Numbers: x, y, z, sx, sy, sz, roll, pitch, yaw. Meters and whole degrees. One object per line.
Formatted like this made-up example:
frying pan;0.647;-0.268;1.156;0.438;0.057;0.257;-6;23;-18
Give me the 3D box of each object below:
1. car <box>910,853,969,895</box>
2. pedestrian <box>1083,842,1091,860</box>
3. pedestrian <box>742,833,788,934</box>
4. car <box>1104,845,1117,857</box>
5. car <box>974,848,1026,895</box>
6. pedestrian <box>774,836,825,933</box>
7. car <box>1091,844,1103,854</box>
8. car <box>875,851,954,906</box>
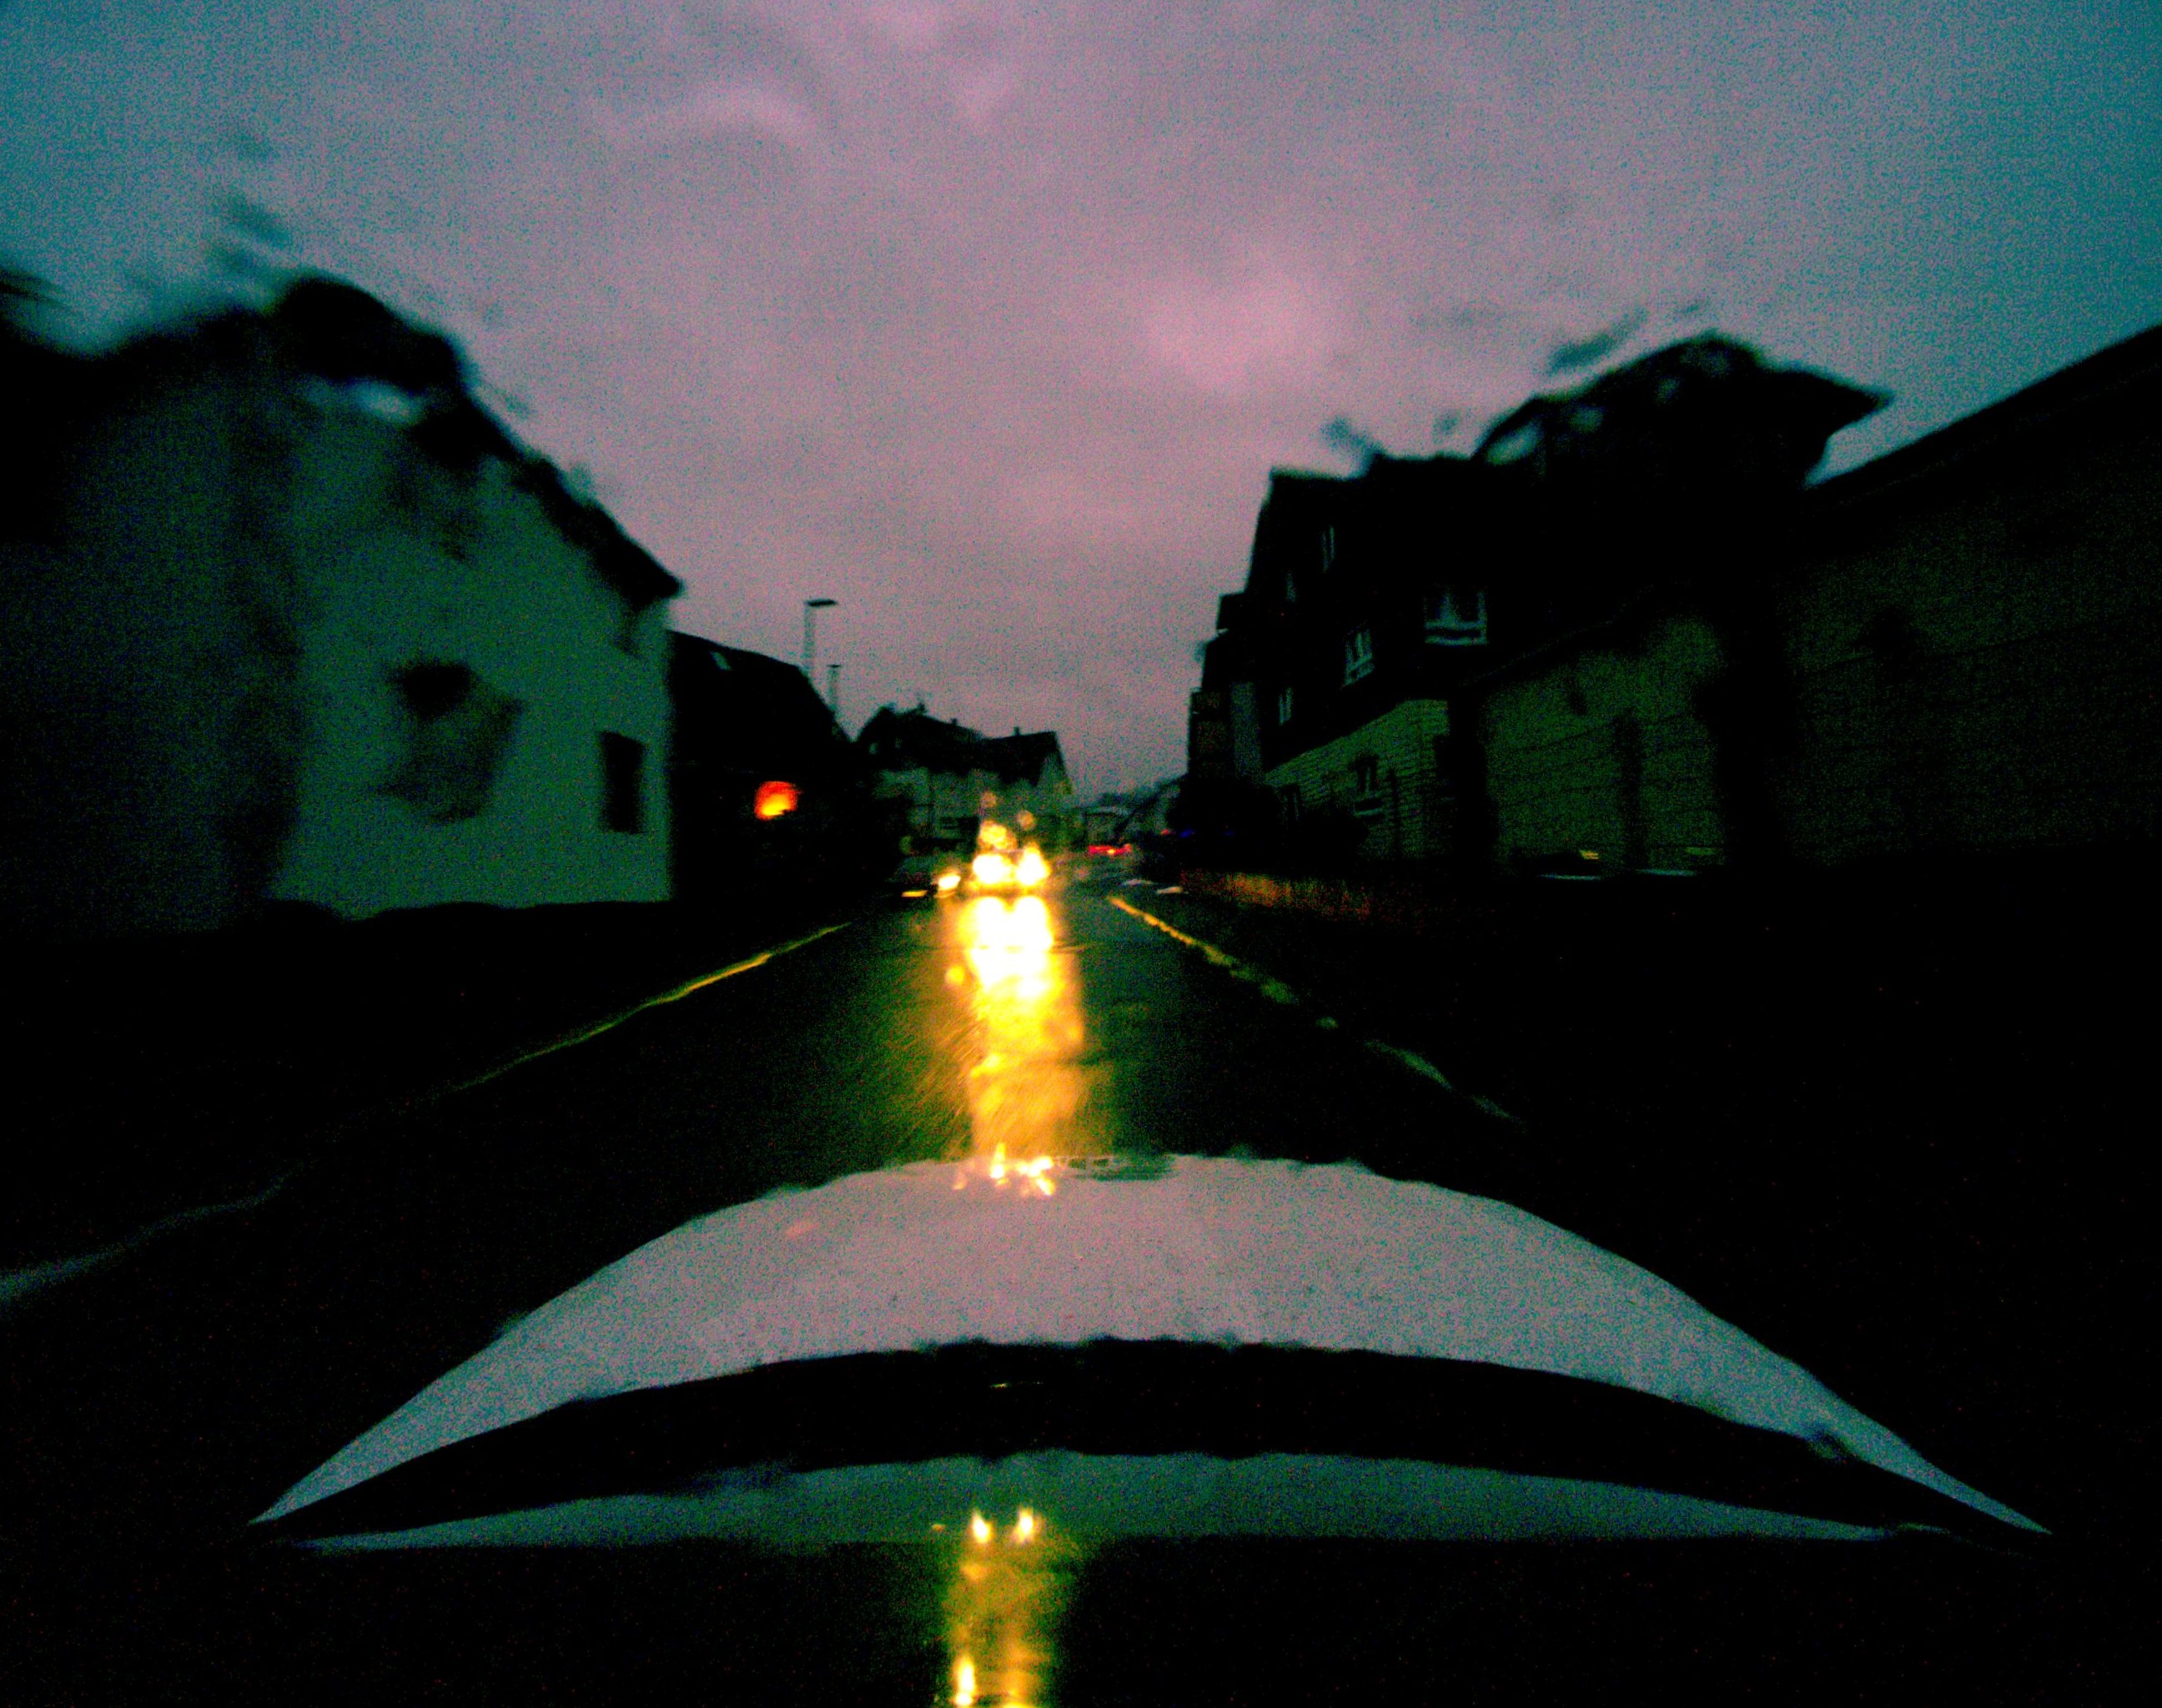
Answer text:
car;-5.137;0.684;30.024;1.746;1.388;4.139;-1;0;-5
pedestrian;0.632;-0.315;81.539;0.593;1.733;0.815;-1;-1;15
pedestrian;-6.014;0.555;15.539;0.597;1.869;0.810;-1;-1;-6
car;4.461;-0.447;123.327;1.986;1.618;4.001;0;-1;2
car;-3.009;0.634;30.475;1.755;1.580;3.992;-1;-1;-5
pedestrian;-5.281;0.561;15.343;0.705;1.779;0.810;0;-1;-5
car;2.736;-0.842;140.230;1.988;1.618;3.998;0;-1;-1
car;-4.849;0.660;24.264;1.820;1.440;4.060;-1;0;-5
